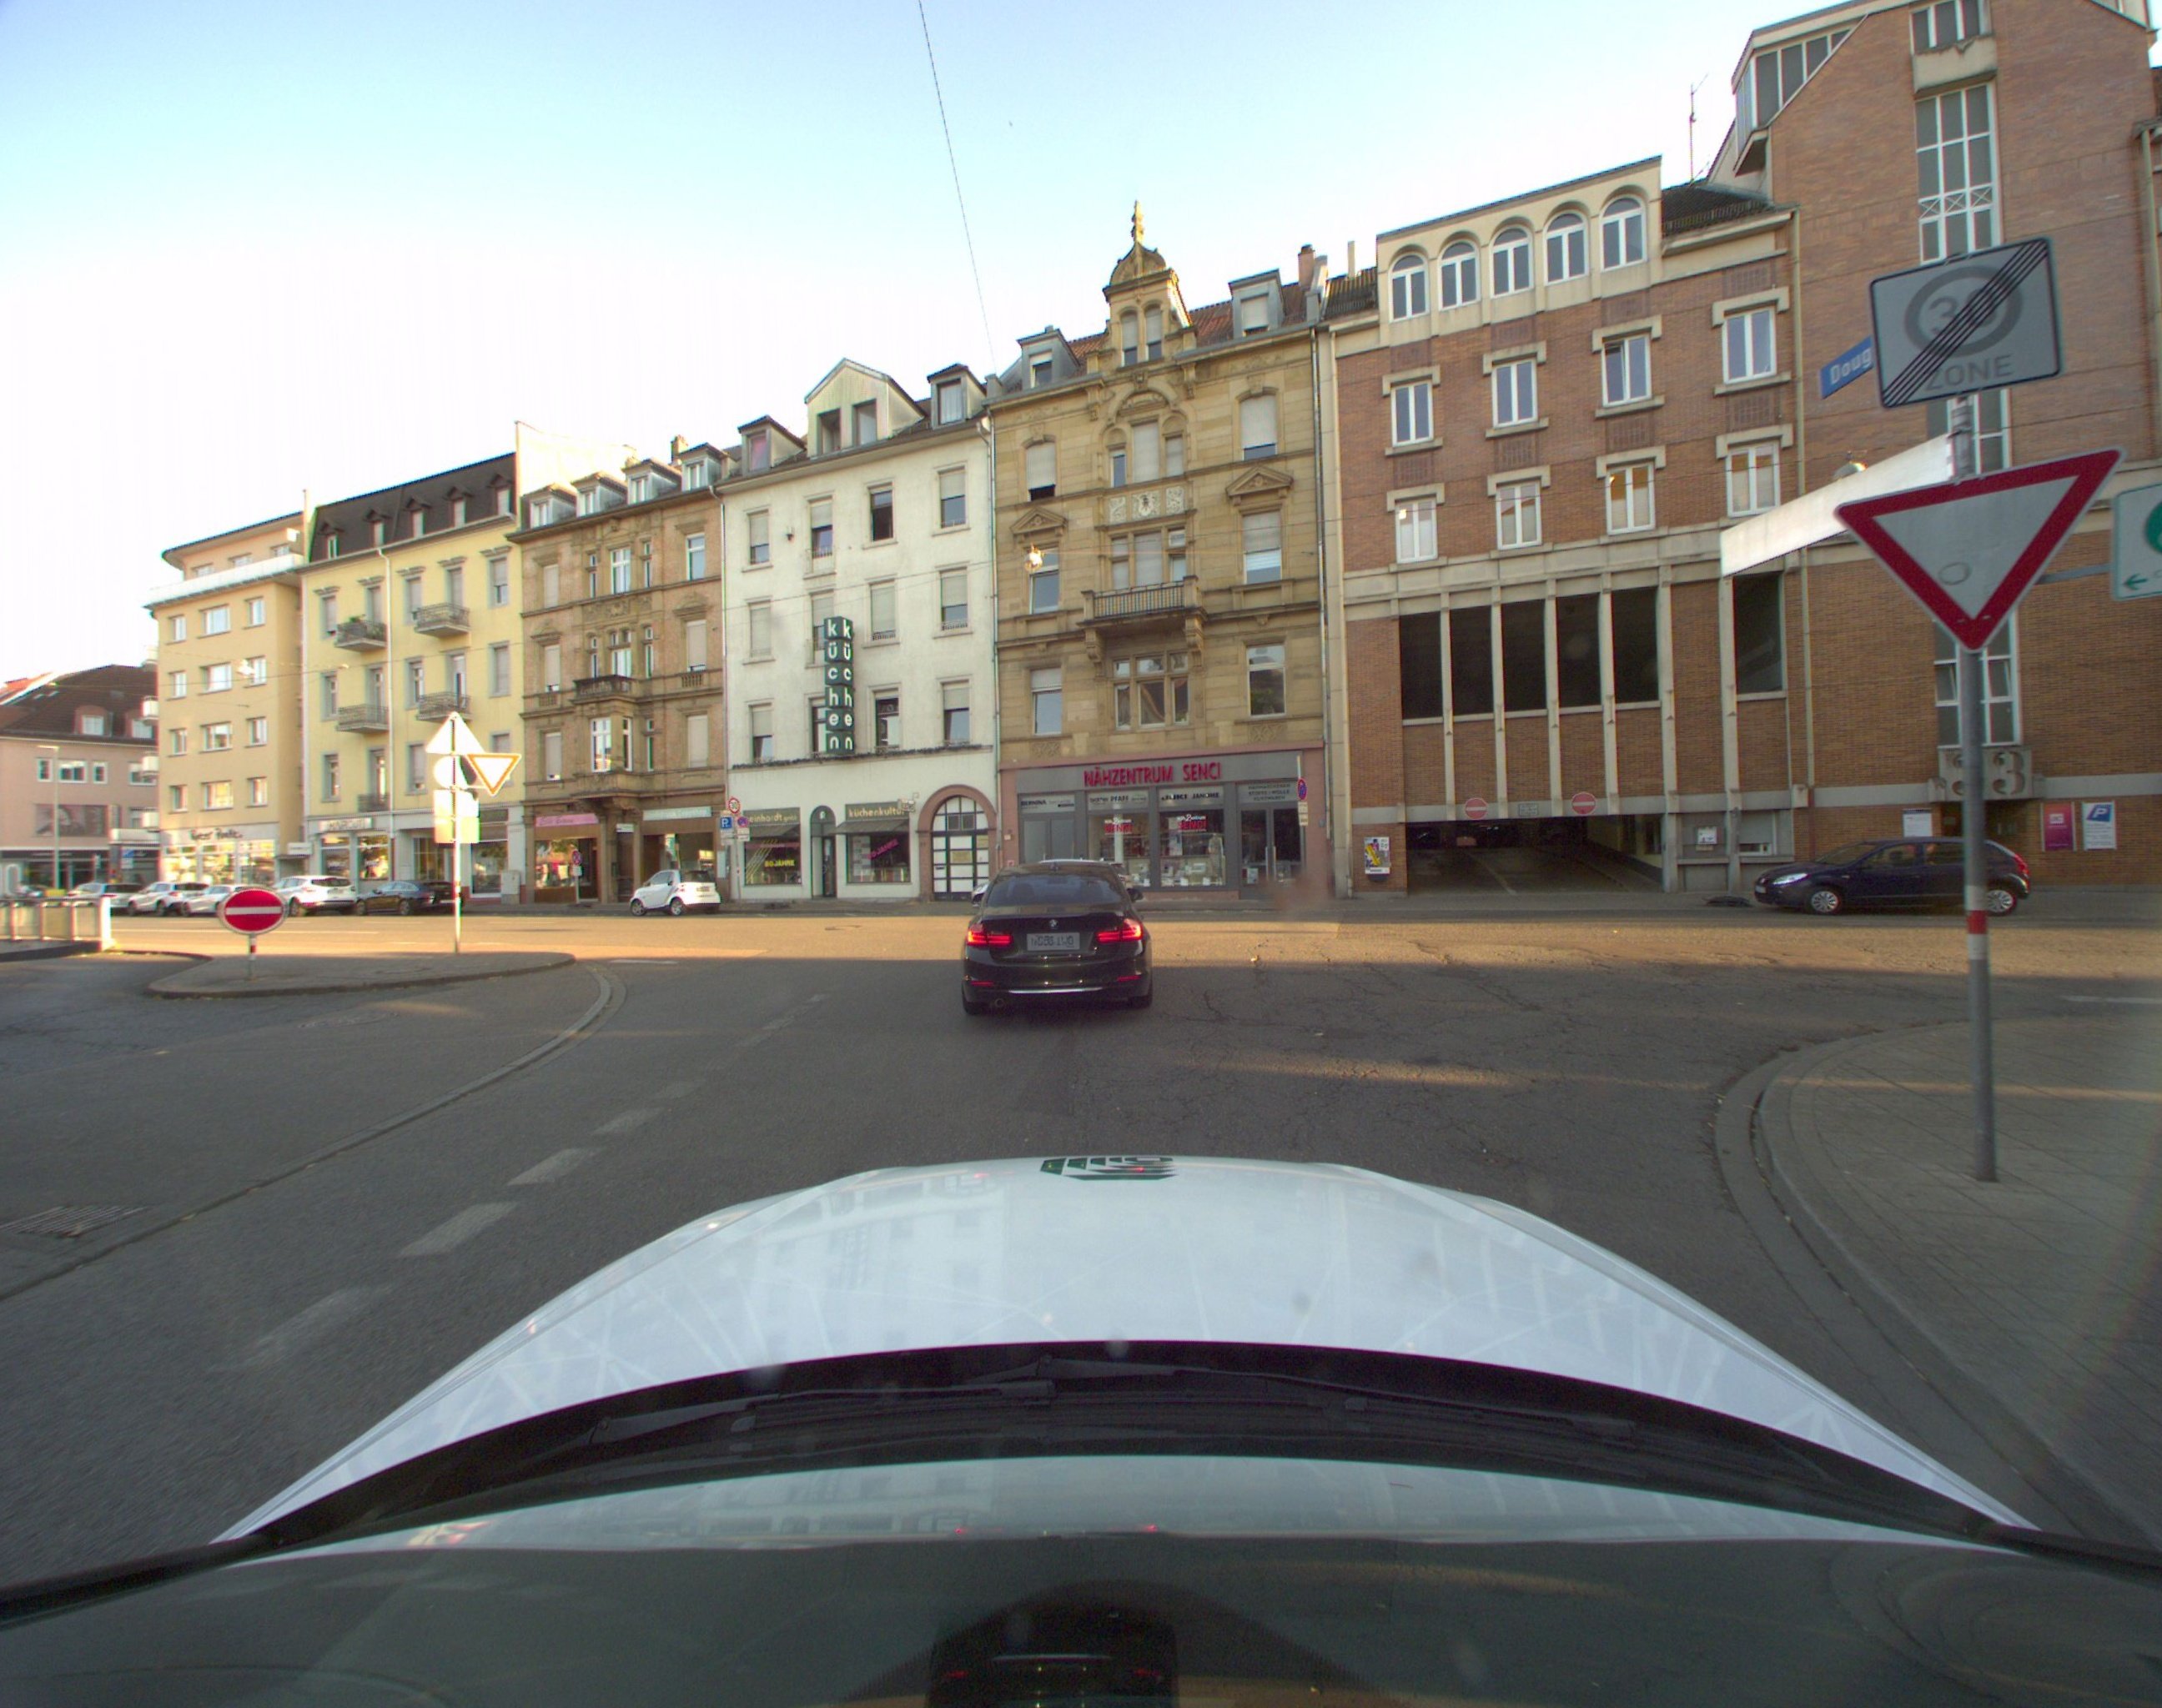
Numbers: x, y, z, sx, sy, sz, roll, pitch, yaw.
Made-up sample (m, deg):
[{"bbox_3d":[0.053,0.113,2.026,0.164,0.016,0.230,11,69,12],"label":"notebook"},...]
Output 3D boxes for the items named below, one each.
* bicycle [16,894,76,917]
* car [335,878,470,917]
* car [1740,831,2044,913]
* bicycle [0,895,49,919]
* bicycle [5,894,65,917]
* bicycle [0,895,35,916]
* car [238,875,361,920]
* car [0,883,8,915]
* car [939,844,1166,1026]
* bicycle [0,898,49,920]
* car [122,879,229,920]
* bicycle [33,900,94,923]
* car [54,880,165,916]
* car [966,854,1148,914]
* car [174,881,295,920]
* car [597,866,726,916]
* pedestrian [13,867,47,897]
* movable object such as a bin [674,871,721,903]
[{"bbox_3d":[-55.176,2.744,43.436,0.586,1.112,1.899,-3,-2,18],"label":"bicycle"},{"bbox_3d":[-26.755,1.704,32.126,4.792,1.434,2.010,-2,-1,21],"label":"car"},{"bbox_3d":[16.371,0.353,16.748,3.952,1.520,2.011,-1,0,21],"label":"car"},{"bbox_3d":[-57.414,2.861,44.024,0.715,1.167,1.899,-2,0,18],"label":"bicycle"},{"bbox_3d":[-55.989,2.735,43.625,0.515,1.112,1.899,-2,-1,18],"label":"bicycle"},{"bbox_3d":[-58.668,2.831,44.648,0.507,1.026,1.512,-2,0,17],"label":"bicycle"},{"bbox_3d":[-32.587,1.756,33.961,4.604,1.745,1.898,0,0,21],"label":"car"},{"bbox_3d":[-55.513,2.267,40.042,3.848,1.604,2.354,-2,-1,21],"label":"car"},{"bbox_3d":[-0.090,0.724,8.951,1.880,1.492,4.209,-1,-1,4],"label":"car"},{"bbox_3d":[-58.075,3.003,44.515,0.753,1.112,1.899,-2,-1,18],"label":"bicycle"},{"bbox_3d":[-42.703,2.103,38.413,4.356,1.762,1.883,0,0,20],"label":"car"},{"bbox_3d":[-54.037,3.050,43.268,0.586,1.112,1.899,-1,0,18],"label":"bicycle"},{"bbox_3d":[-48.460,2.202,40.621,4.748,1.613,2.010,-2,-1,19],"label":"car"},{"bbox_3d":[-0.660,0.791,22.665,4.628,1.535,2.010,0,0,19],"label":"car"},{"bbox_3d":[-37.642,2.016,36.227,4.811,1.543,2.033,0,0,21],"label":"car"},{"bbox_3d":[-14.298,1.228,27.772,3.952,1.585,1.714,0,0,21],"label":"car"},{"bbox_3d":[-60.012,1.593,46.514,0.755,1.721,0.870,-1,-1,-4],"label":"pedestrian"},{"bbox_3d":[-14.739,1.280,31.317,1.382,1.186,0.873,-2,-1,21],"label":"movable object such as a bin"}]
